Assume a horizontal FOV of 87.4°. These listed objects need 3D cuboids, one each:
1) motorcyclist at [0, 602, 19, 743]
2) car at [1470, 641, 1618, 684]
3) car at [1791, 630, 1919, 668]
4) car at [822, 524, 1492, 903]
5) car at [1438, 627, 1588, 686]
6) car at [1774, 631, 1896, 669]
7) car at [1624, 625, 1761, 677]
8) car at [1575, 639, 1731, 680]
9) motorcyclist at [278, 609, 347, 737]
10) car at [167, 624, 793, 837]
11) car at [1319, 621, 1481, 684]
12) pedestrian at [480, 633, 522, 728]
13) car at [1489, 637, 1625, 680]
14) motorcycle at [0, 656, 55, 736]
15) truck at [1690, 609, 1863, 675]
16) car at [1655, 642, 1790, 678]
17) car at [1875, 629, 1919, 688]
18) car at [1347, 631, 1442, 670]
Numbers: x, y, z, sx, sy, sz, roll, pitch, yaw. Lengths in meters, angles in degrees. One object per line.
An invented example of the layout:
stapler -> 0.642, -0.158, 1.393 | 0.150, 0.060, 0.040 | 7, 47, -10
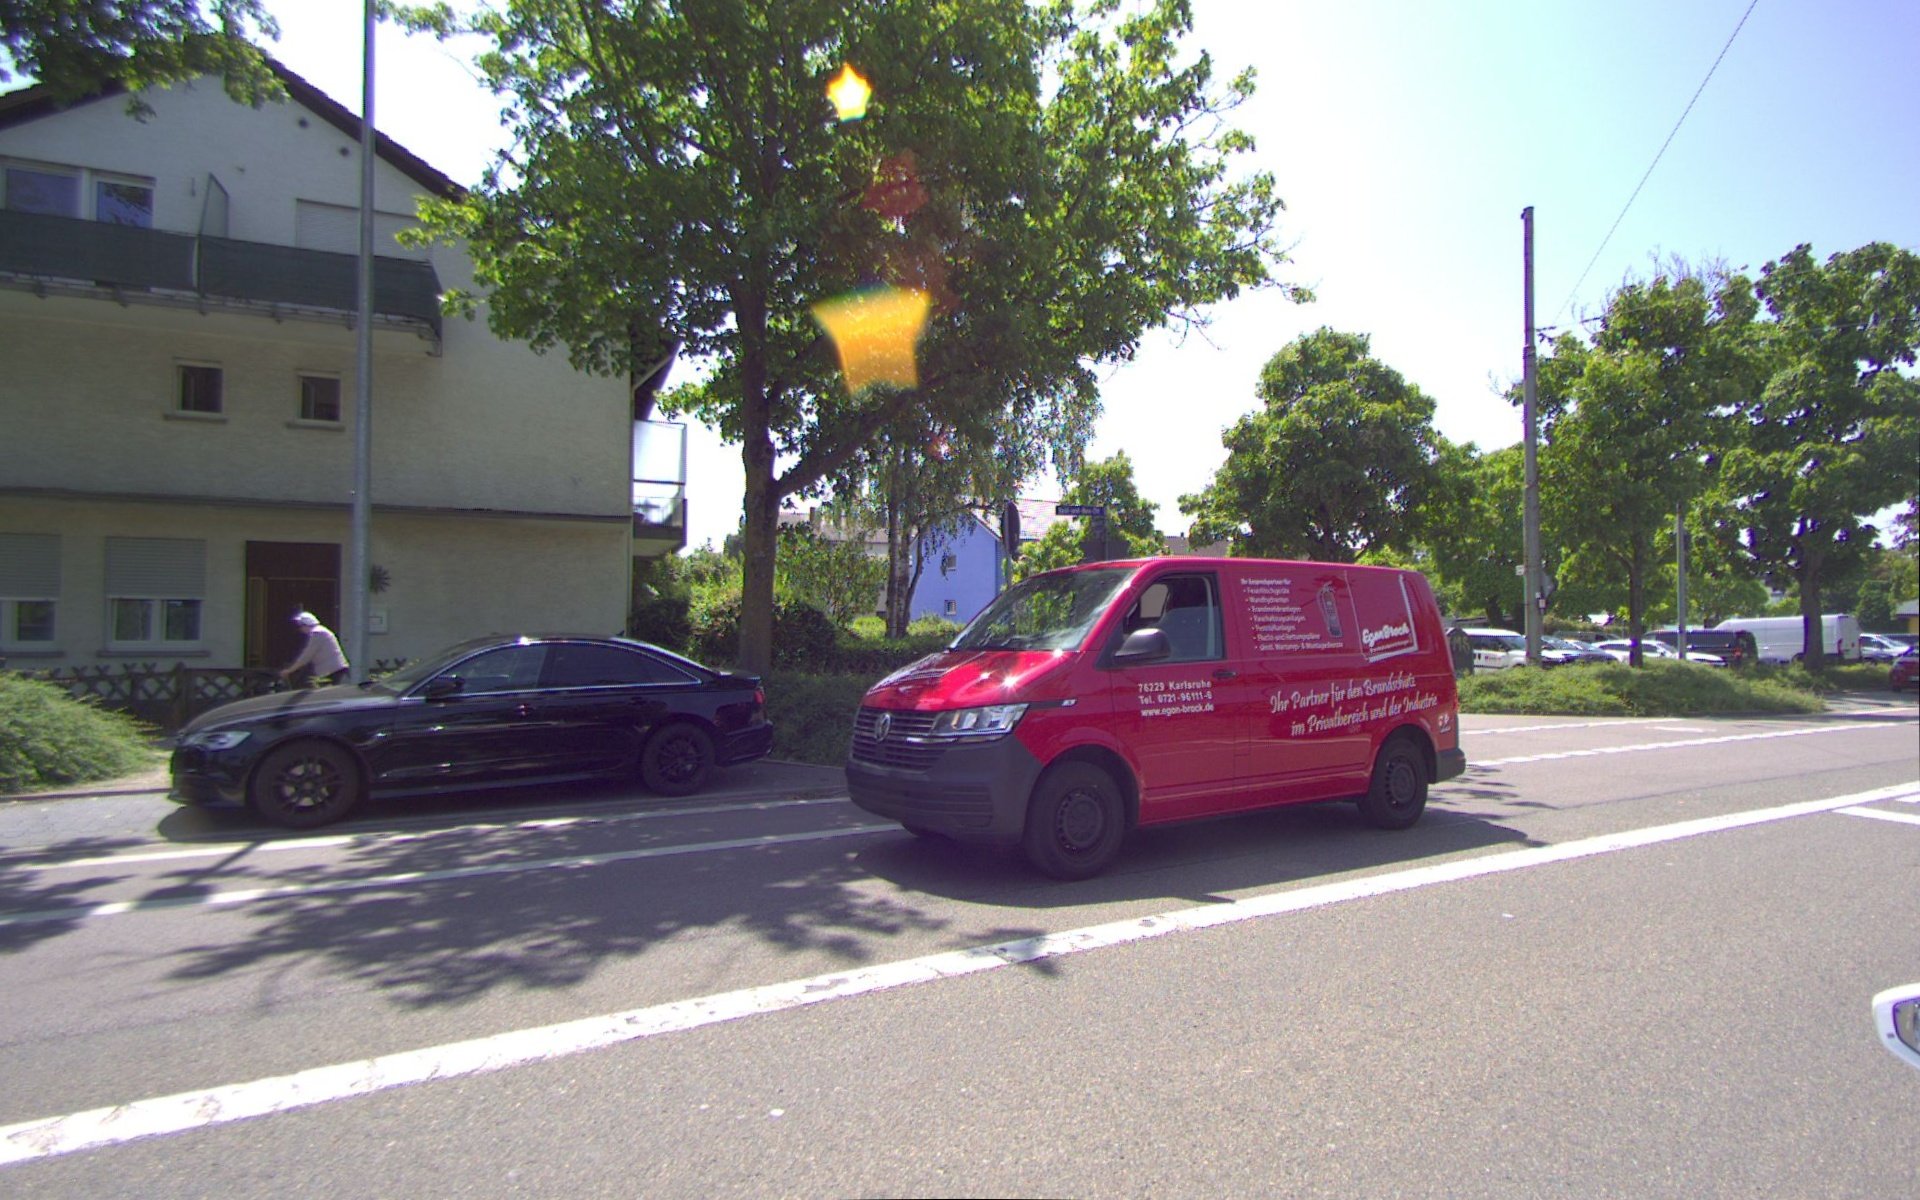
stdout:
motorcyclist -> -10.884, 0.788, 10.994 | 0.716, 1.523, 0.583 | 1, 1, -29
car -> 20.990, 2.194, 36.241 | 2.060, 1.422, 4.171 | 1, -2, -34
car -> 45.651, 2.491, 51.277 | 1.776, 1.837, 4.694 | 1, -2, -31
car -> 1.572, 0.679, 7.272 | 4.767, 1.951, 1.889 | 1, -4, -32
car -> 18.683, 1.883, 34.139 | 1.652, 1.859, 4.251 | 1, -2, -28
car -> 43.392, 2.461, 49.897 | 1.836, 1.789, 4.188 | 1, -2, -31
car -> 30.079, 2.063, 41.366 | 1.836, 2.021, 4.188 | 1, -2, -31
car -> 27.541, 2.326, 40.106 | 2.035, 1.508, 4.737 | 1, -2, -31
motorcyclist -> -7.997, 0.882, 12.424 | 0.654, 1.523, 0.583 | 1, 1, -29
car -> -4.117, 0.995, 9.222 | 4.758, 1.476, 1.883 | 1, -1, -33
car -> 14.146, 1.655, 32.496 | 2.039, 1.881, 4.422 | 1, -2, -33
pedestrian -> -7.596, 1.317, 16.640 | 0.599, 1.530, 0.792 | 1, -2, -23
car -> 22.692, 2.178, 38.324 | 1.908, 1.528, 4.107 | 1, -2, -28
motorcycle -> -10.893, 1.052, 11.010 | 1.354, 0.837, 0.523 | 1, 1, -30
truck -> 36.821, 1.882, 45.492 | 2.402, 2.796, 5.555 | 1, -2, -29
car -> 32.216, 2.500, 42.545 | 1.836, 1.429, 4.188 | 1, -2, -31
car -> 27.455, 1.642, 28.081 | 3.680, 1.566, 1.665 | 2, -1, -28
car -> 22.081, 2.556, 51.197 | 1.948, 1.844, 4.107 | 2, -2, -30
